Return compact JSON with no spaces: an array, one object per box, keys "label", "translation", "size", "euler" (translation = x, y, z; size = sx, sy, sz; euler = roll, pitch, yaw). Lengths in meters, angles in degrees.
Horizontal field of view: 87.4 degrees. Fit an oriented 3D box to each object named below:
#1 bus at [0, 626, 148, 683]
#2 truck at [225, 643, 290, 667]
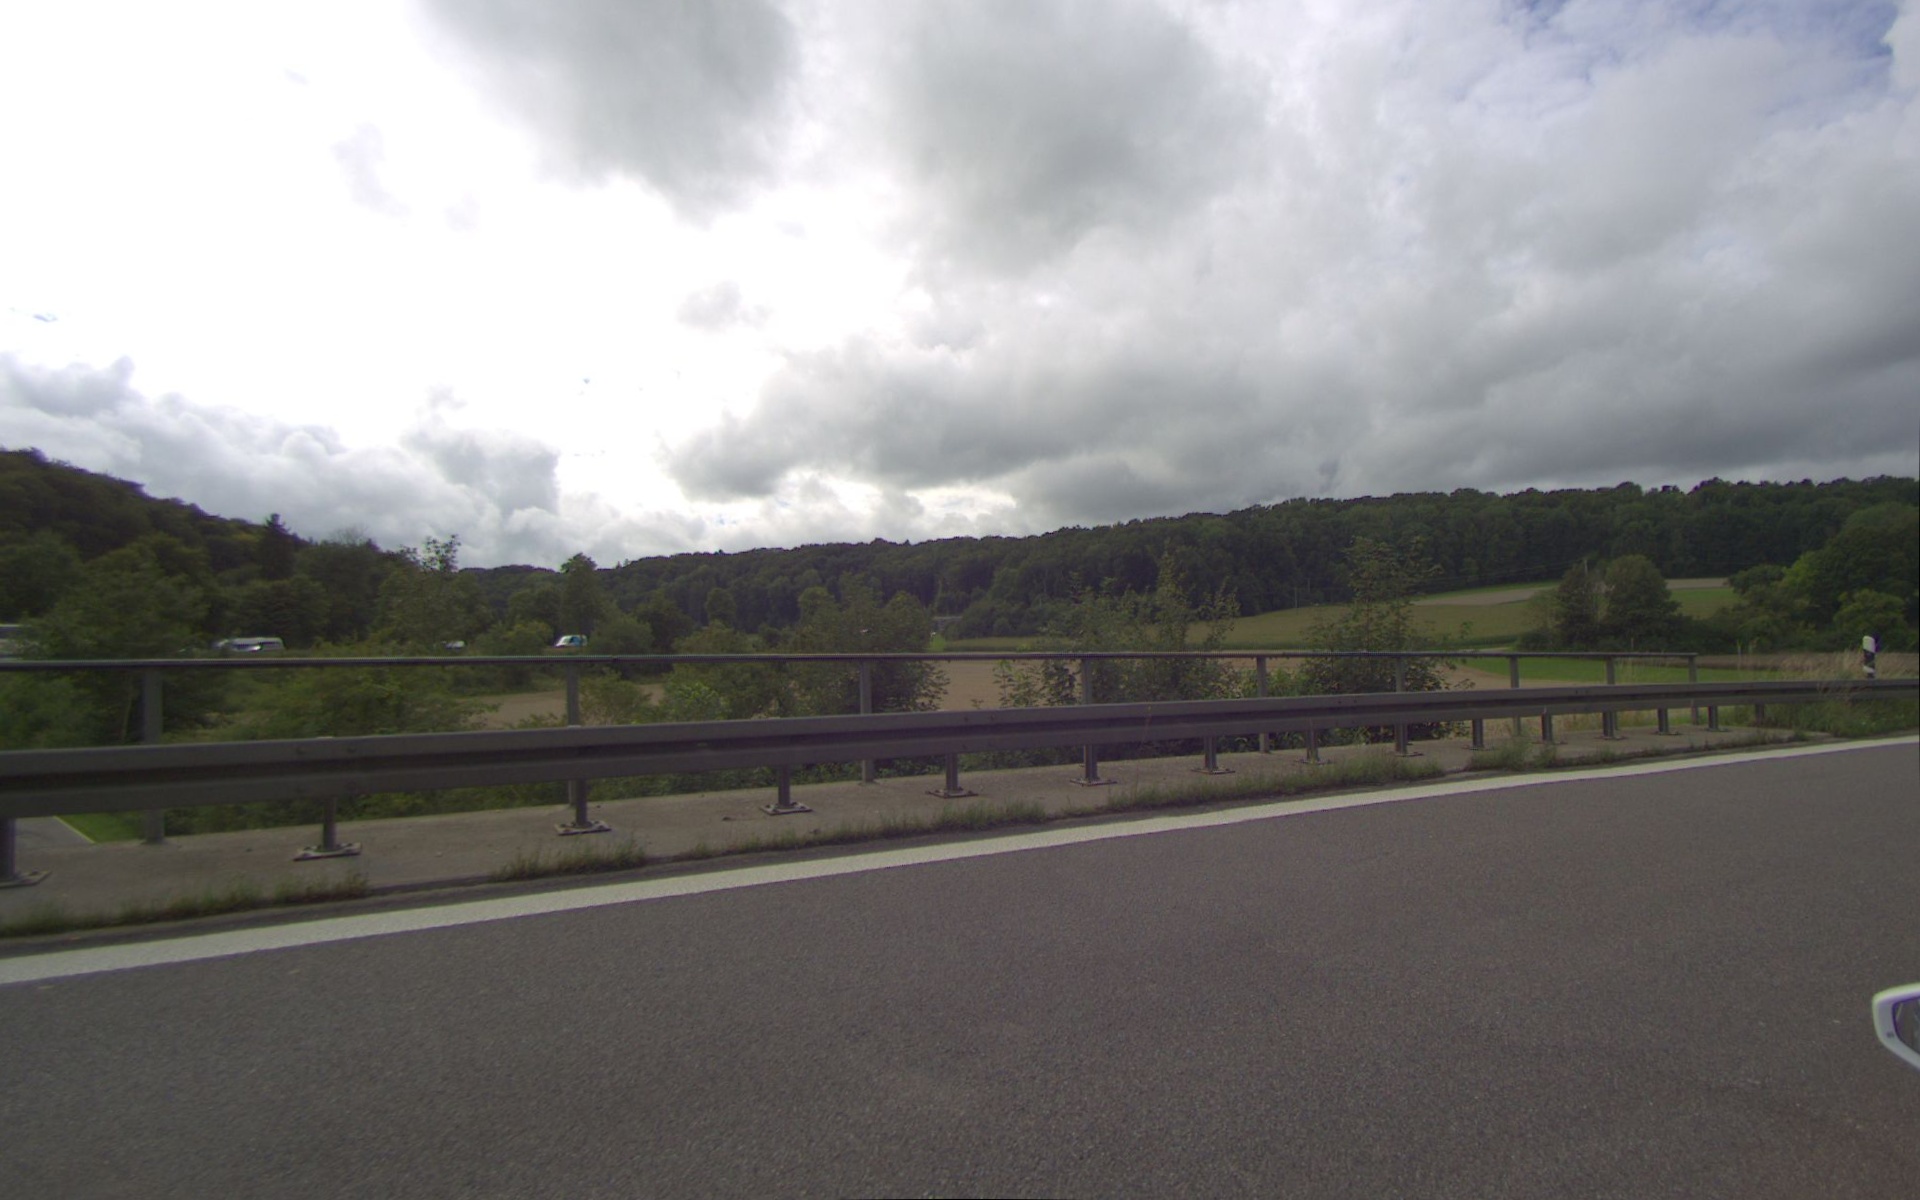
[{"label":"bus","translation":[-86.269,5.018,91.862],"size":[5.475,5.003,18.308],"euler":[-2,-3,22]},{"label":"truck","translation":[-80.352,6.339,114.927],"size":[2.318,2.497,5.735],"euler":[-3,-5,20]}]
